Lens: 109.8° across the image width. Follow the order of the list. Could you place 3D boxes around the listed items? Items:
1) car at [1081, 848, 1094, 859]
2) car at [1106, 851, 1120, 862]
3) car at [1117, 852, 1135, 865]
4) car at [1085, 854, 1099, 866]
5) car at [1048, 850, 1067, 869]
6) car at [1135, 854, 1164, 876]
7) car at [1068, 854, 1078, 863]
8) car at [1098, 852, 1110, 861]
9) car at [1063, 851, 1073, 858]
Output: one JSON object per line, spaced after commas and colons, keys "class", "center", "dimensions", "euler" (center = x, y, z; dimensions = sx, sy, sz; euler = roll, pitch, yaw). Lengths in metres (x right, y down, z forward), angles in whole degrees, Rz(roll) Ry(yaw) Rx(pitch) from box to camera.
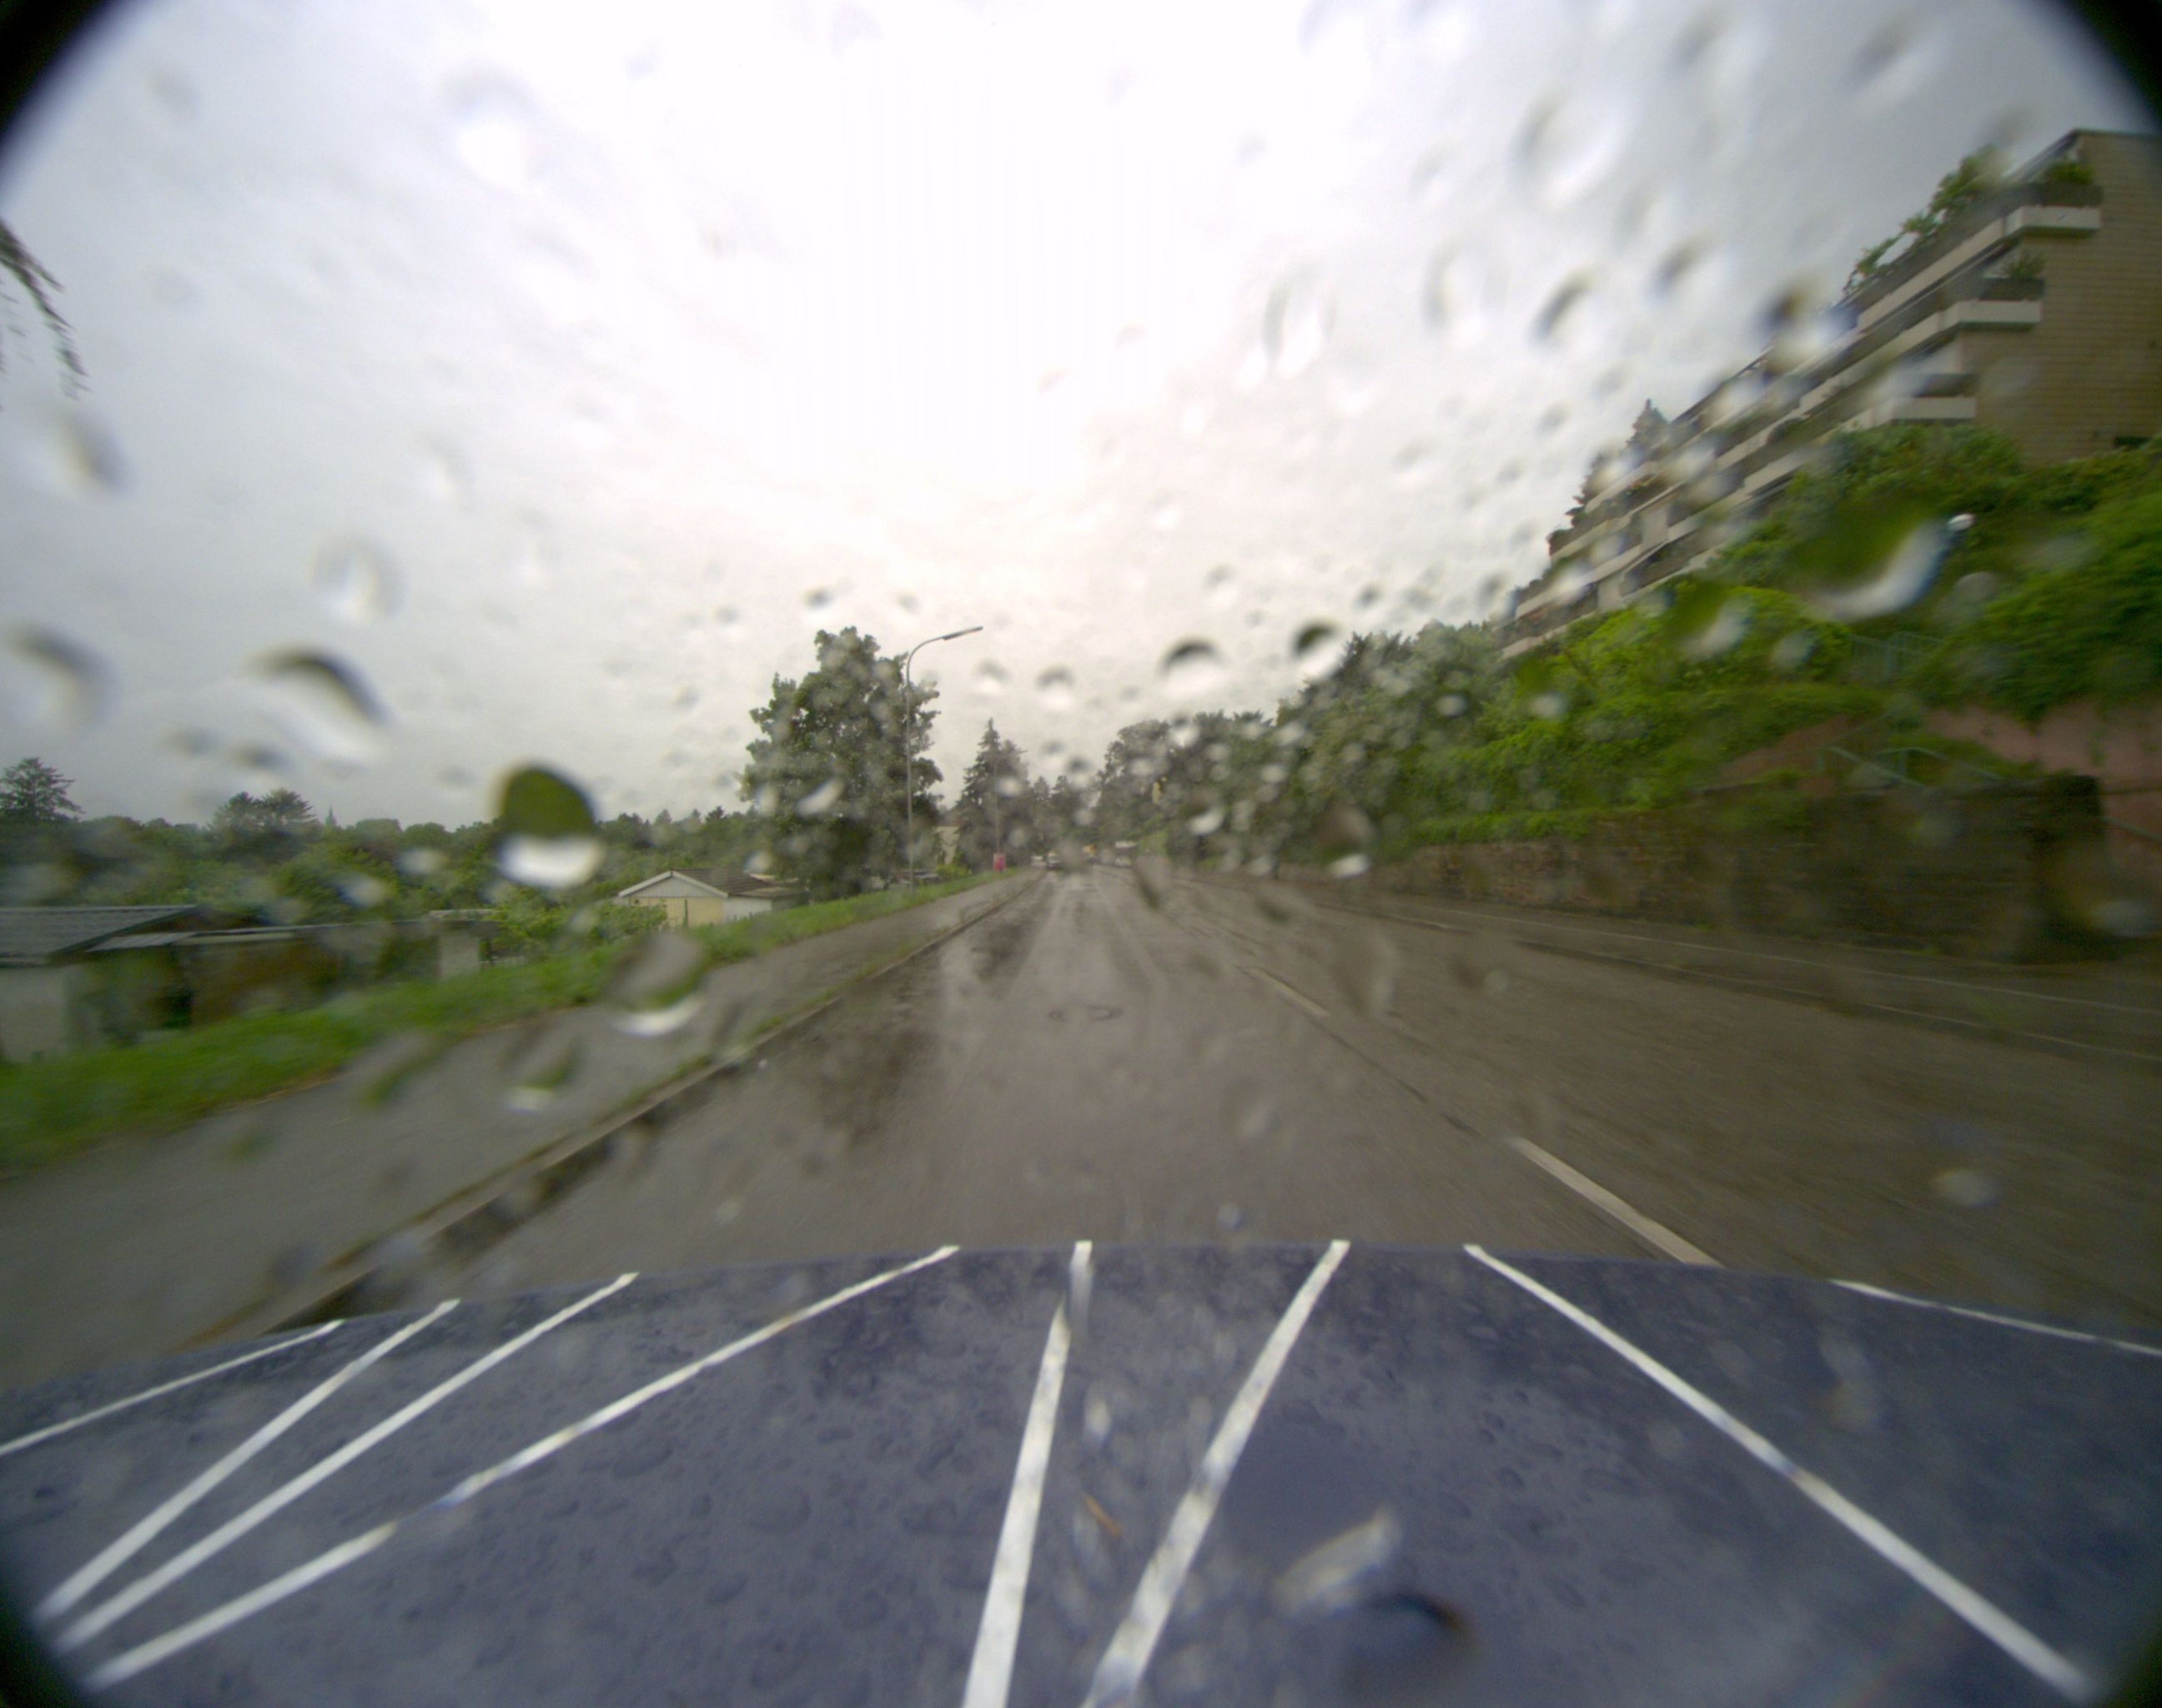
{"class": "car", "center": [1.254, -0.136, 151.225], "dimensions": [1.855, 2.137, 3.701], "euler": [-2, 0, -12]}
{"class": "car", "center": [4.768, 0.400, 113.509], "dimensions": [1.853, 1.583, 3.704], "euler": [-2, 0, -1]}
{"class": "car", "center": [5.546, 0.580, 93.986], "dimensions": [1.853, 1.583, 3.704], "euler": [-2, 0, -1]}
{"class": "car", "center": [1.562, 0.867, 111.202], "dimensions": [1.853, 1.583, 3.704], "euler": [-2, 0, -1]}
{"class": "car", "center": [-2.586, 0.623, 85.182], "dimensions": [1.998, 2.001, 4.000], "euler": [-1, -1, 0]}
{"class": "car", "center": [4.698, 0.756, 52.430], "dimensions": [1.597, 1.433, 3.704], "euler": [1, 0, -1]}
{"class": "car", "center": [-1.462, 0.792, 140.336], "dimensions": [1.853, 1.583, 5.145], "euler": [-2, 0, -1]}
{"class": "car", "center": [4.004, 0.466, 131.066], "dimensions": [1.853, 1.583, 3.704], "euler": [-2, 0, -1]}
{"class": "car", "center": [-3.157, 0.197, 186.389], "dimensions": [1.855, 1.583, 3.701], "euler": [-2, 0, -12]}
